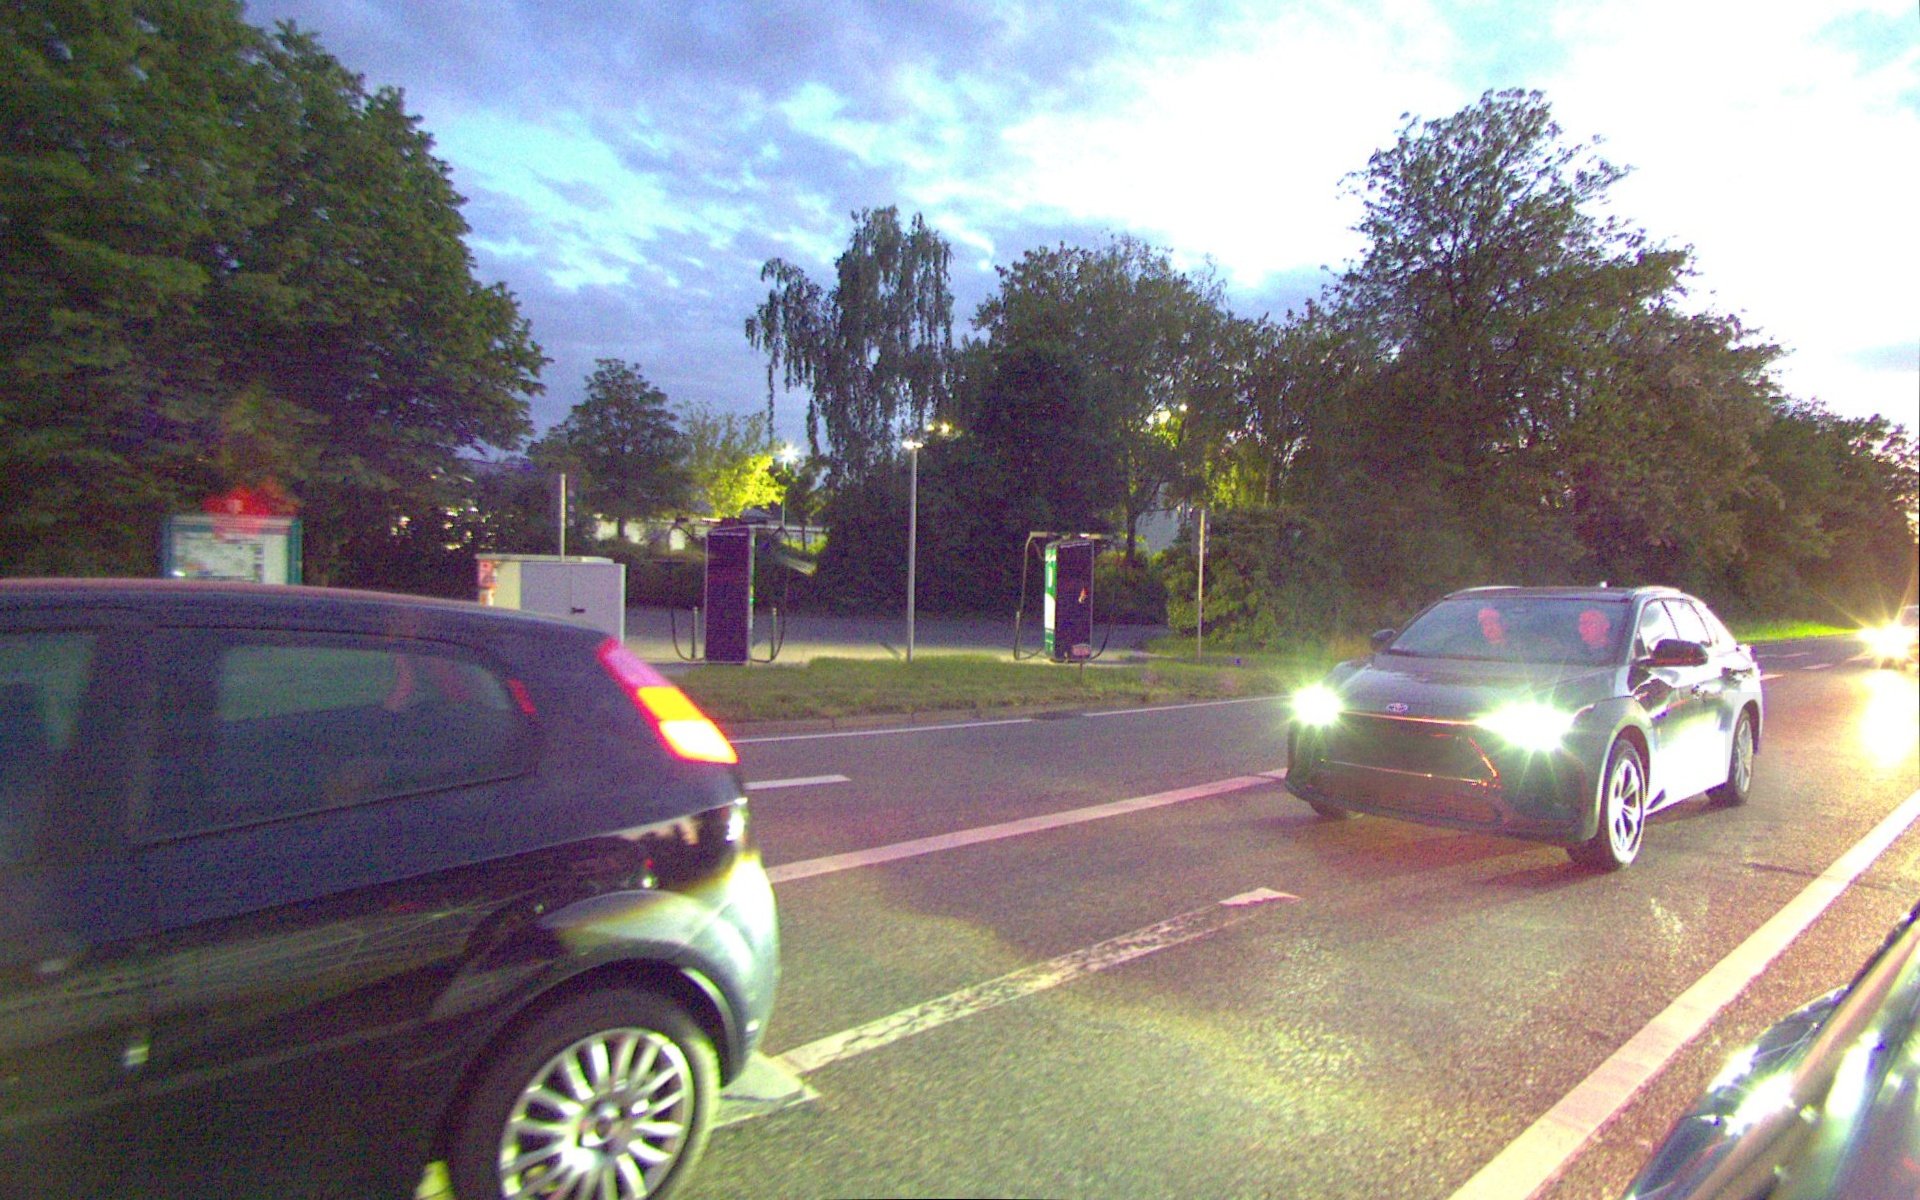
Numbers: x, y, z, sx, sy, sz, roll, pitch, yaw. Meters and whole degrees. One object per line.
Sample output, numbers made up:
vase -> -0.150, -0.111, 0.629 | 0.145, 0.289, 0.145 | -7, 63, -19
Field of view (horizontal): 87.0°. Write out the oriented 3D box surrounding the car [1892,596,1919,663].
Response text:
car -> 23.097, 0.662, 23.574 | 3.803, 1.487, 1.622 | 0, 0, -41

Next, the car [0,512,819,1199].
car -> -2.425, 0.625, 1.823 | 4.032, 1.540, 1.674 | 0, 1, -39

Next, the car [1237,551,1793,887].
car -> 4.162, 0.569, 7.203 | 4.629, 1.630, 1.997 | 0, 0, -41
